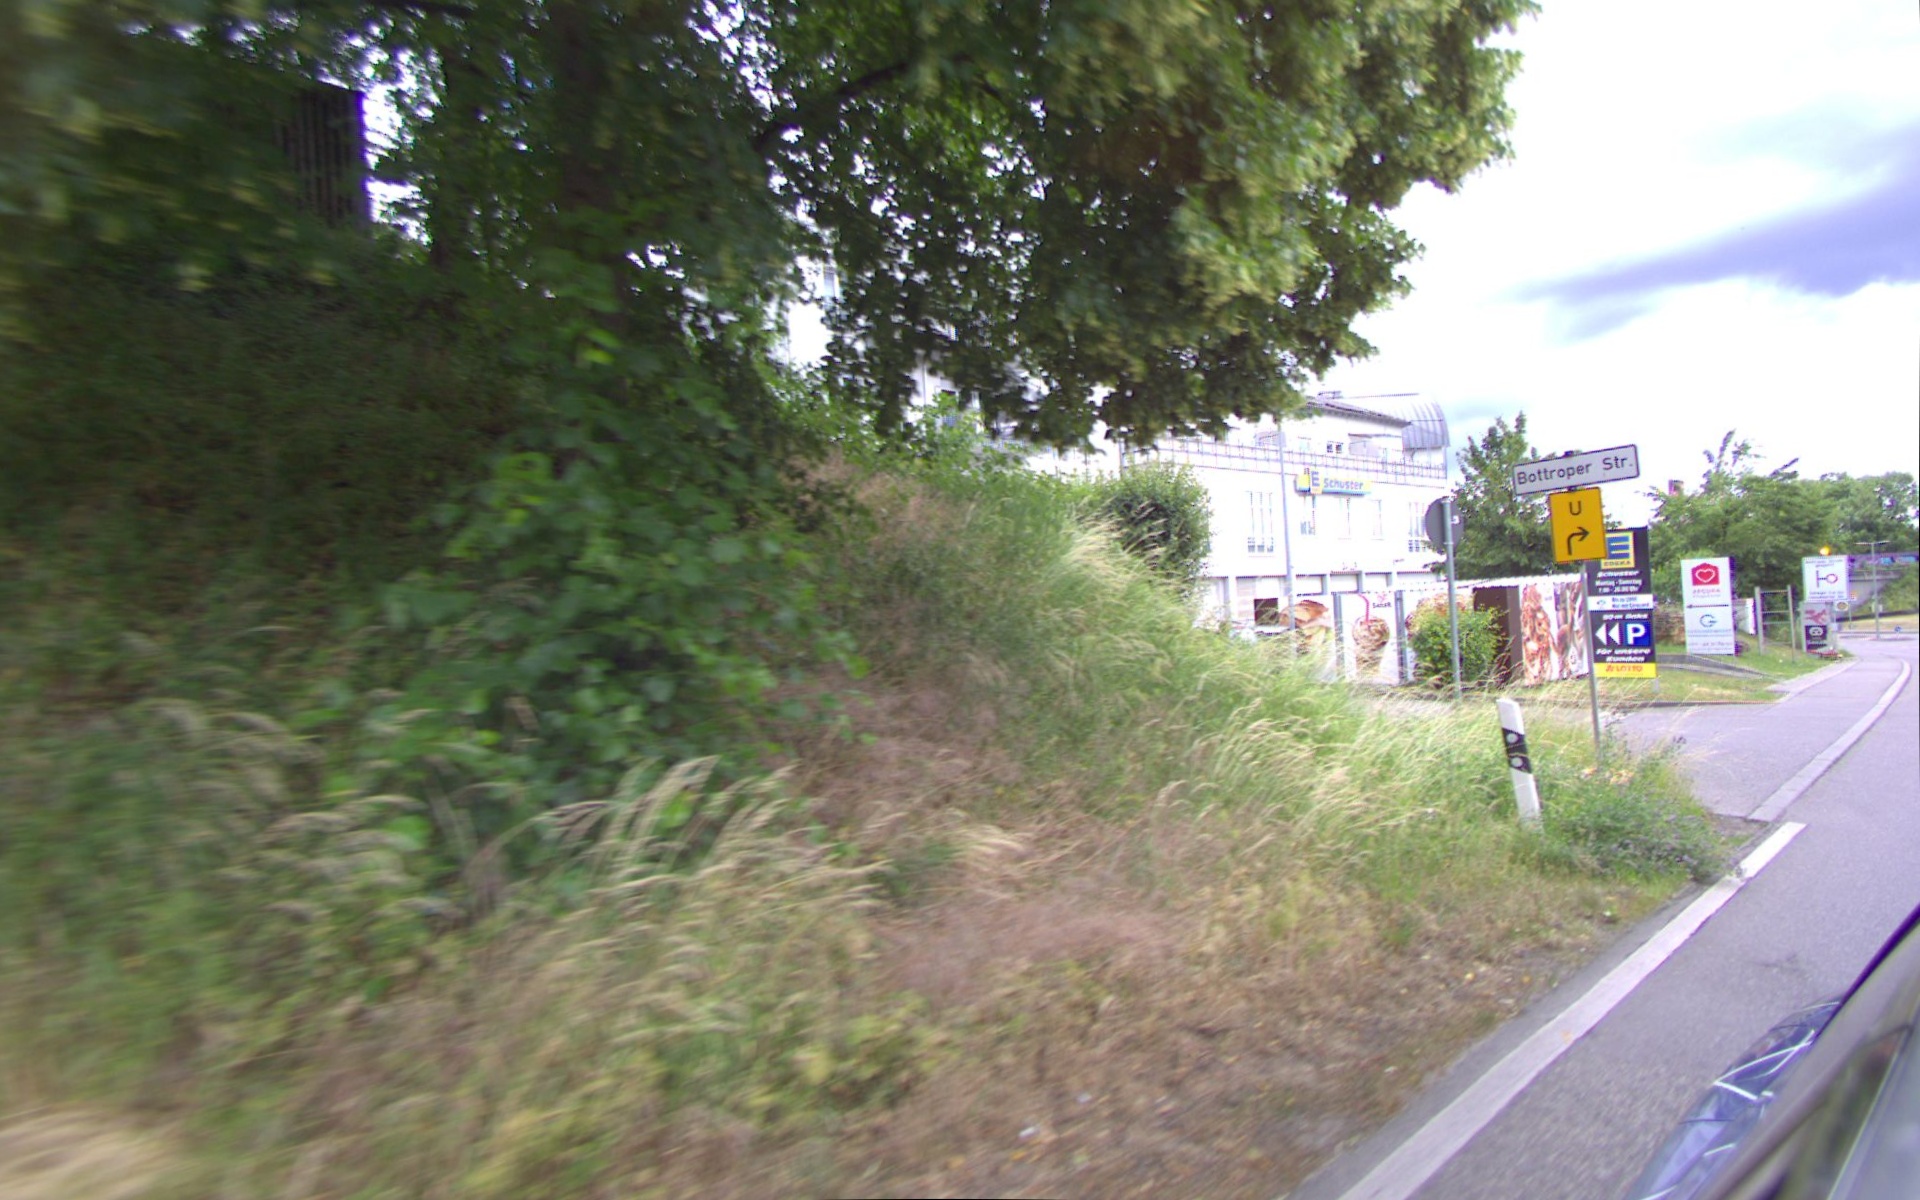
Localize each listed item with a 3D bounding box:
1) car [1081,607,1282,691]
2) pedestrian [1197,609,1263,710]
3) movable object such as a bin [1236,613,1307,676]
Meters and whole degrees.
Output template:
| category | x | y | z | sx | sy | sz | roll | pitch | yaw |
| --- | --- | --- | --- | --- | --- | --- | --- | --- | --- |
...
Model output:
| category | x | y | z | sx | sy | sz | roll | pitch | yaw |
| --- | --- | --- | --- | --- | --- | --- | --- | --- | --- |
| car | 4.830 | 1.030 | 22.621 | 1.755 | 1.613 | 4.252 | -2 | 0 | -36 |
| pedestrian | 4.667 | 1.012 | 17.516 | 0.790 | 1.679 | 0.733 | 0 | -2 | -37 |
| movable object such as a bin | 7.384 | 1.046 | 24.006 | 1.039 | 1.432 | 1.247 | 0 | -2 | -41 |
